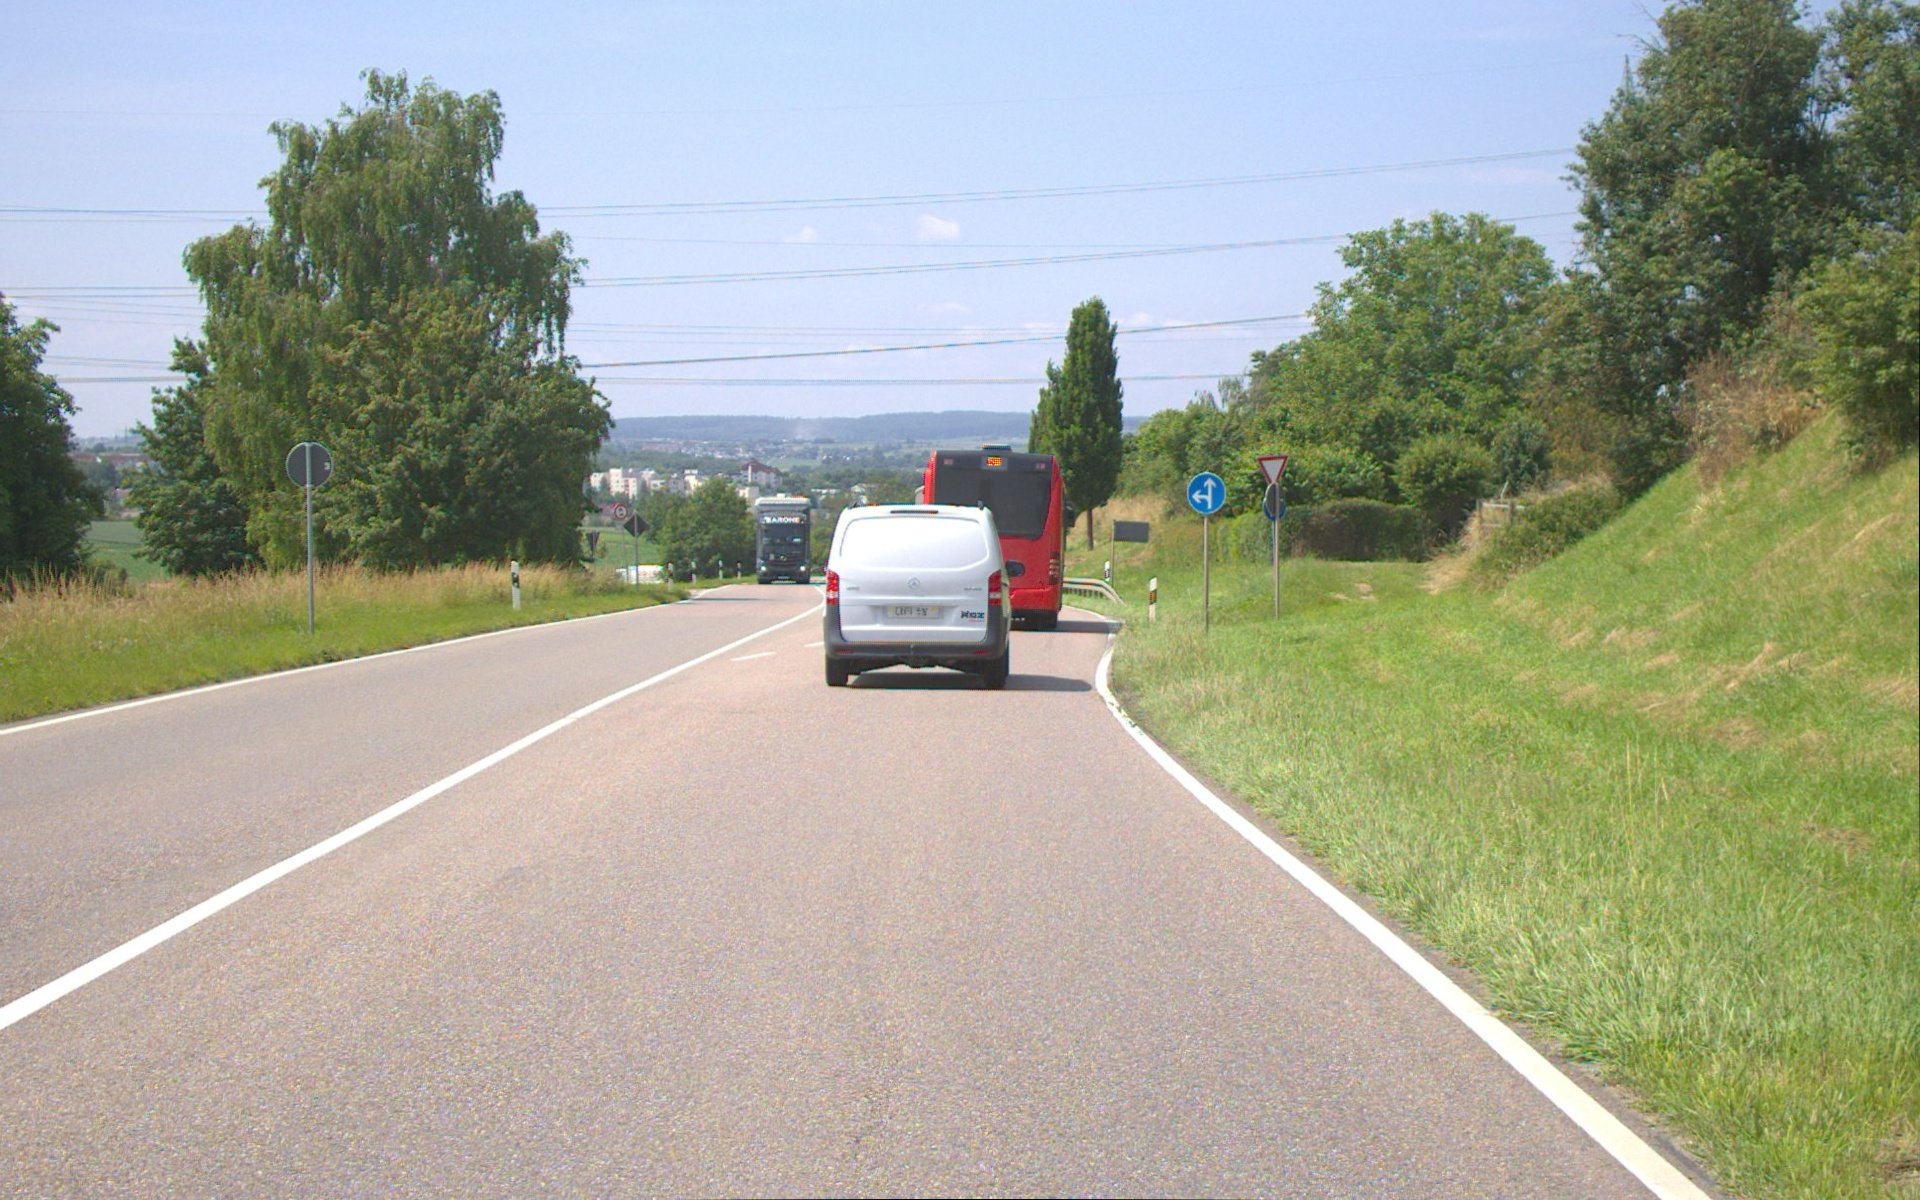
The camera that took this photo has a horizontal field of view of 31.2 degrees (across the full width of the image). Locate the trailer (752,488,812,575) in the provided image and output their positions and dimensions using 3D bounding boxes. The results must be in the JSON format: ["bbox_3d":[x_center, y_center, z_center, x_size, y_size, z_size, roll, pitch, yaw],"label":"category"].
[{"bbox_3d":[-8.804,-3.392,171.268,2.592,4.128,13.742,0,1,-2],"label":"trailer"}]

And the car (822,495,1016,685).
[{"bbox_3d":[-0.419,-0.142,36.638,1.923,1.883,4.000,-1,1,0],"label":"car"}]

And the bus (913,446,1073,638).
[{"bbox_3d":[0.542,-1.326,67.878,2.747,3.341,13.224,-2,3,0],"label":"bus"}]

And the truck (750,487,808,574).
[{"bbox_3d":[-8.608,-3.296,164.260,2.585,4.090,5.442,0,1,-1],"label":"truck"}]

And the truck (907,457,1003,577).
[{"bbox_3d":[-0.233,-3.213,134.558,3.488,4.408,14.903,-1,1,0],"label":"truck"}]
